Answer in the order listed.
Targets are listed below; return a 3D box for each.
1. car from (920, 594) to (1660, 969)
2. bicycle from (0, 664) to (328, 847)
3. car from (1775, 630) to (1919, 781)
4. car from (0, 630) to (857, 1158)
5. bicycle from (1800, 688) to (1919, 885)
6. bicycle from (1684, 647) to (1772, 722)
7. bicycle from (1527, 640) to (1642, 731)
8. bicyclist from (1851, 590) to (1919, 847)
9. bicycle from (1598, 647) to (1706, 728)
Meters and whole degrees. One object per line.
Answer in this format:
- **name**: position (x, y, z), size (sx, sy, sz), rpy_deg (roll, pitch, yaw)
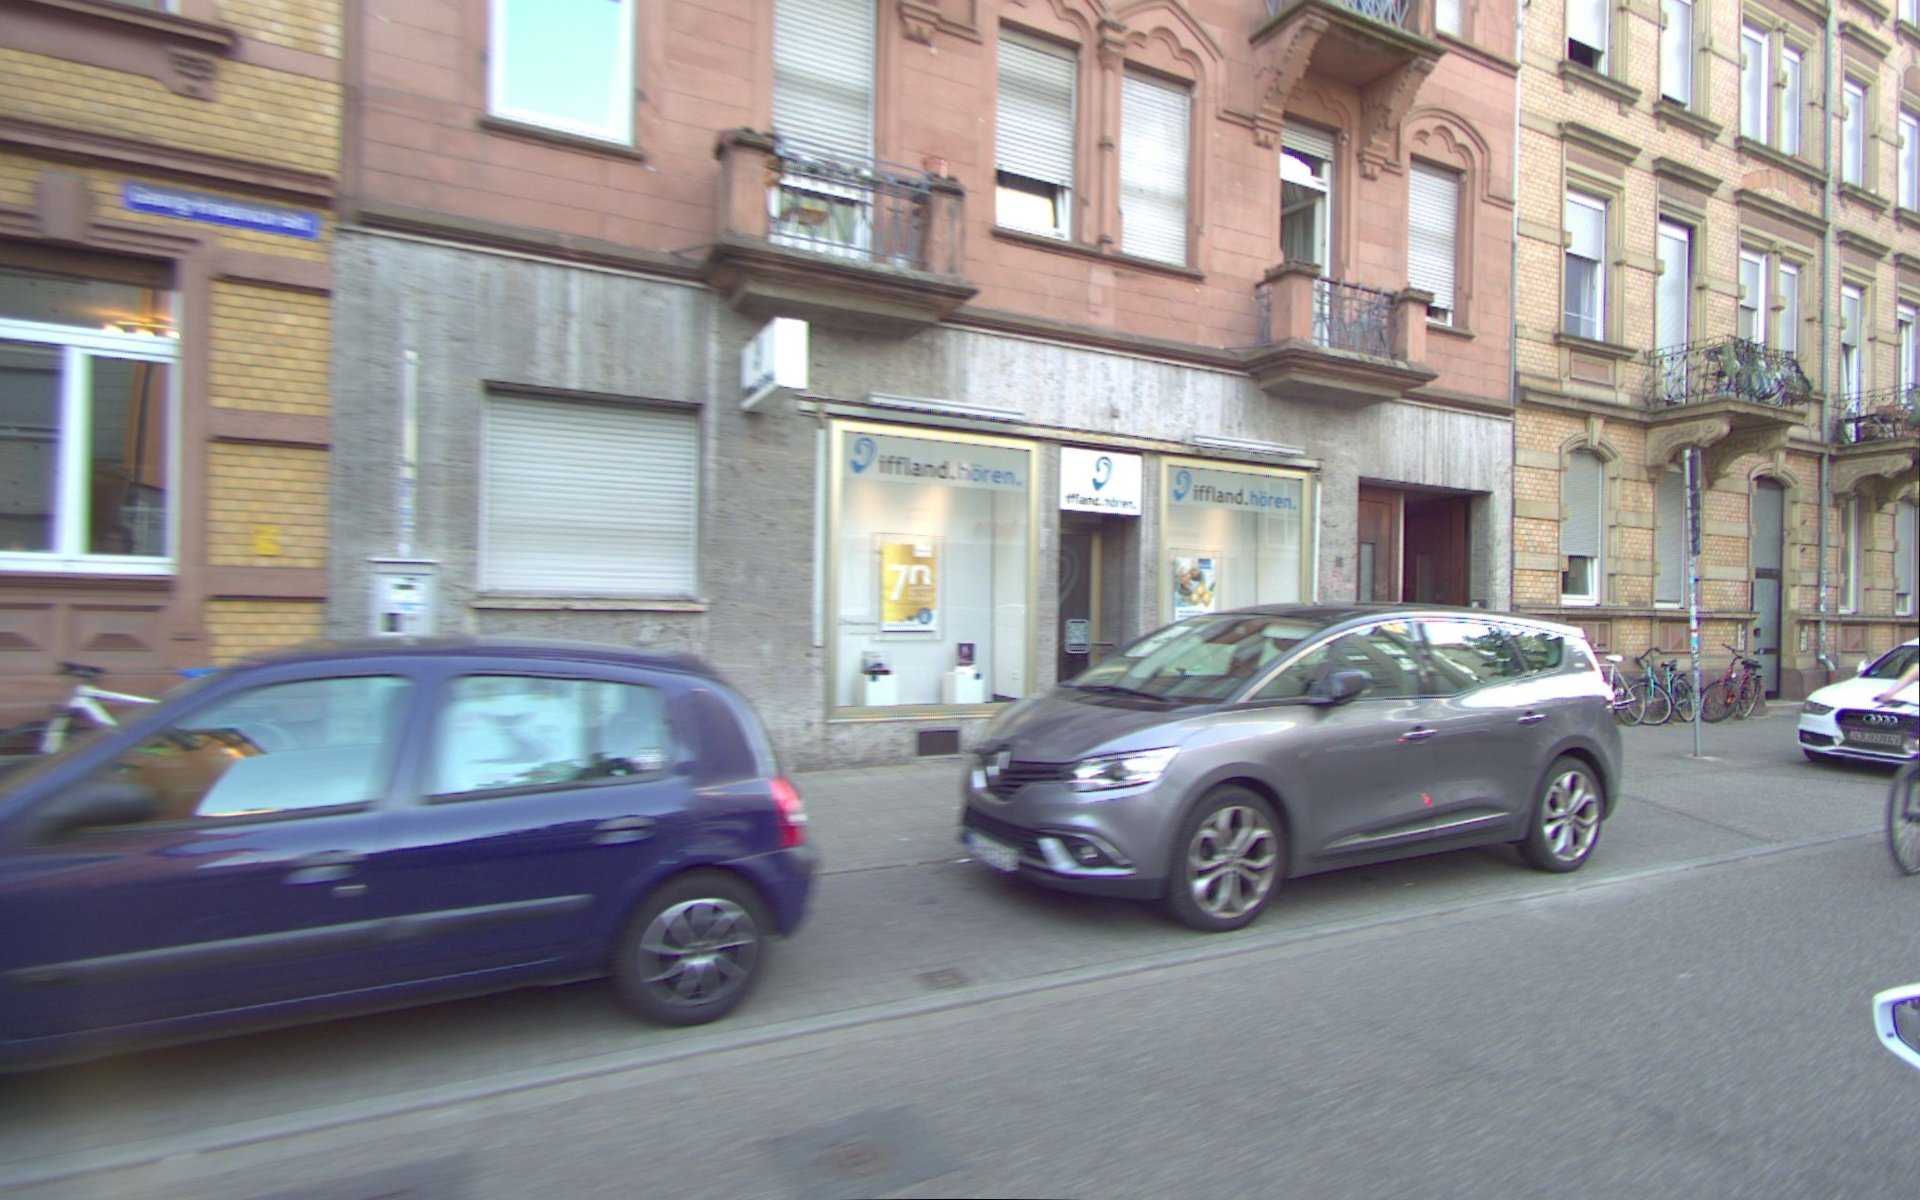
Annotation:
- **car**: position (2.124, 0.827, 6.270), size (4.388, 1.655, 1.846), rpy_deg (1, 0, -27)
- **bicycle**: position (-5.189, 0.959, 6.489), size (1.824, 1.036, 0.447), rpy_deg (1, 3, -27)
- **car**: position (11.195, 1.080, 11.108), size (4.450, 1.431, 1.751), rpy_deg (1, 0, -27)
- **car**: position (-2.387, 0.857, 3.859), size (3.647, 1.439, 1.579), rpy_deg (1, 0, -26)
- **bicycle**: position (6.511, 1.152, 6.594), size (2.138, 1.095, 0.643), rpy_deg (1, -2, -24)
- **bicycle**: position (11.537, 1.238, 15.082), size (1.608, 1.041, 0.589), rpy_deg (1, 0, -35)
- **bicycle**: position (8.398, 1.117, 13.489), size (1.708, 1.147, 0.513), rpy_deg (1, 0, -28)
- **bicyclist**: position (6.541, 0.762, 6.623), size (0.905, 1.642, 0.643), rpy_deg (1, -2, -24)
- **bicycle**: position (9.728, 1.207, 14.106), size (1.603, 1.050, 0.563), rpy_deg (1, 0, -28)
